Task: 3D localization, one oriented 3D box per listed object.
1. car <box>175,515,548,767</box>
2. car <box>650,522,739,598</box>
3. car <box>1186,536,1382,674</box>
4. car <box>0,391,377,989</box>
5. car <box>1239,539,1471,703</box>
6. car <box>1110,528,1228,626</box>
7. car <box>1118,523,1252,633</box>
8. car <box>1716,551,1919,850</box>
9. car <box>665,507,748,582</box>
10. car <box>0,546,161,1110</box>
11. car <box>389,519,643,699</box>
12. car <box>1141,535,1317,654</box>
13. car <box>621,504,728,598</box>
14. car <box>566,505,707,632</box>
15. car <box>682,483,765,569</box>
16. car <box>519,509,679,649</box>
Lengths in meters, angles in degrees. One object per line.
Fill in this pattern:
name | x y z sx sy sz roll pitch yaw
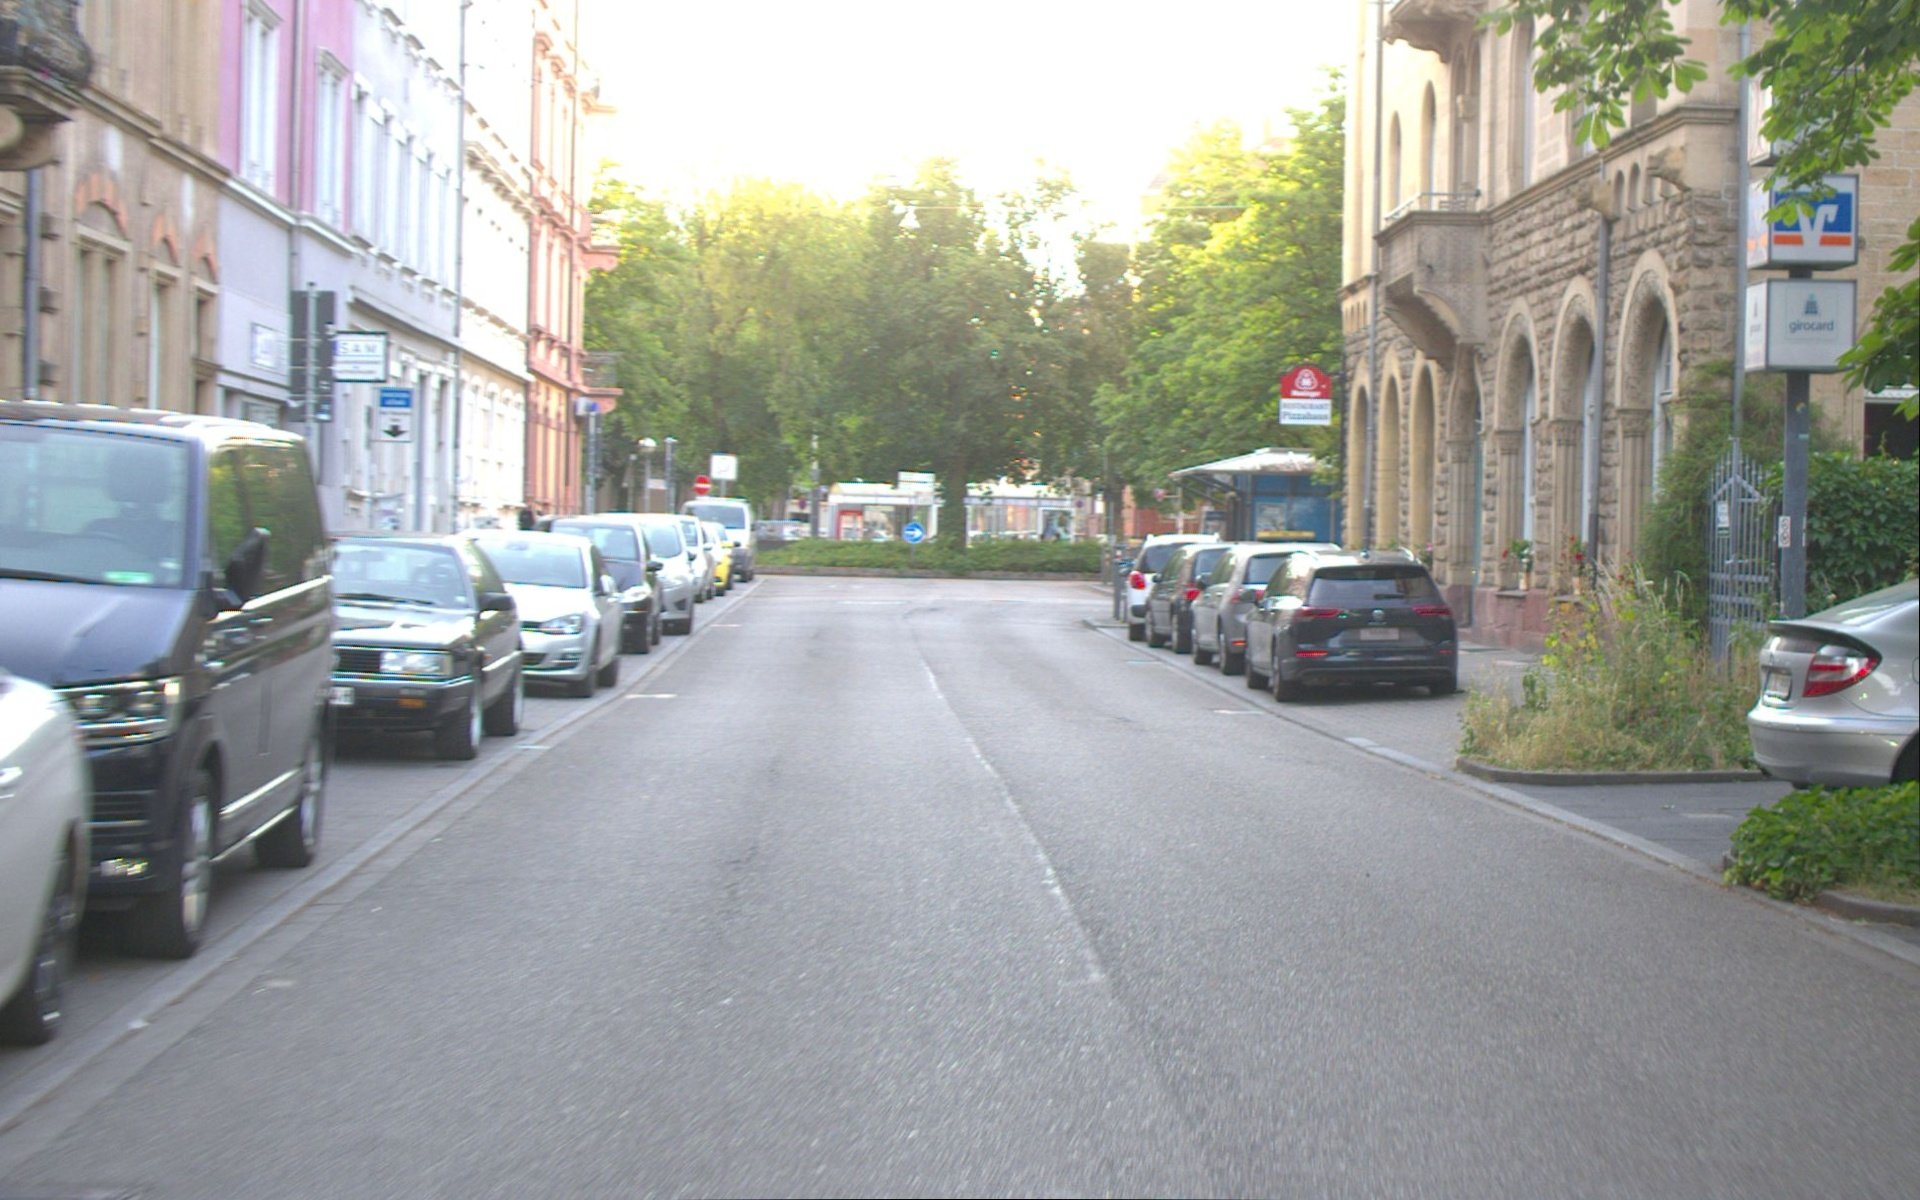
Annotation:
car | -3.848 0.218 22.850 1.736 1.413 4.779 3 1 -2
car | -5.405 -0.836 70.206 1.698 1.421 4.023 3 1 -4
car | 3.715 0.011 40.052 1.676 1.451 4.231 -2 1 -2
car | -3.618 0.198 13.644 1.993 1.917 4.952 3 1 -4
car | 3.851 0.152 34.194 1.676 1.424 4.478 -3 1 -1
car | 3.411 -0.405 56.691 1.676 1.496 4.018 -2 1 0
car | 3.283 -0.358 50.696 1.676 1.496 3.901 -2 1 0
car | 6.247 0.459 18.144 4.086 1.447 1.882 -1 2 1
car | -5.608 -1.240 76.129 1.698 1.547 4.023 3 1 -4
car | -3.313 0.568 8.520 1.783 1.418 4.486 3 1 -3
car | -4.075 0.037 32.151 1.834 1.453 4.207 4 1 -1
car | 3.536 -0.111 45.798 1.676 1.451 3.801 -2 1 -5
car | -5.274 -0.922 63.948 1.698 1.615 4.022 3 1 -2
car | -4.458 -0.457 47.771 1.844 1.653 4.253 1 1 -4
car | -5.813 -1.824 84.266 1.810 1.970 4.187 3 1 -6
car | -4.338 -0.290 41.731 1.636 1.560 3.782 2 1 -2
